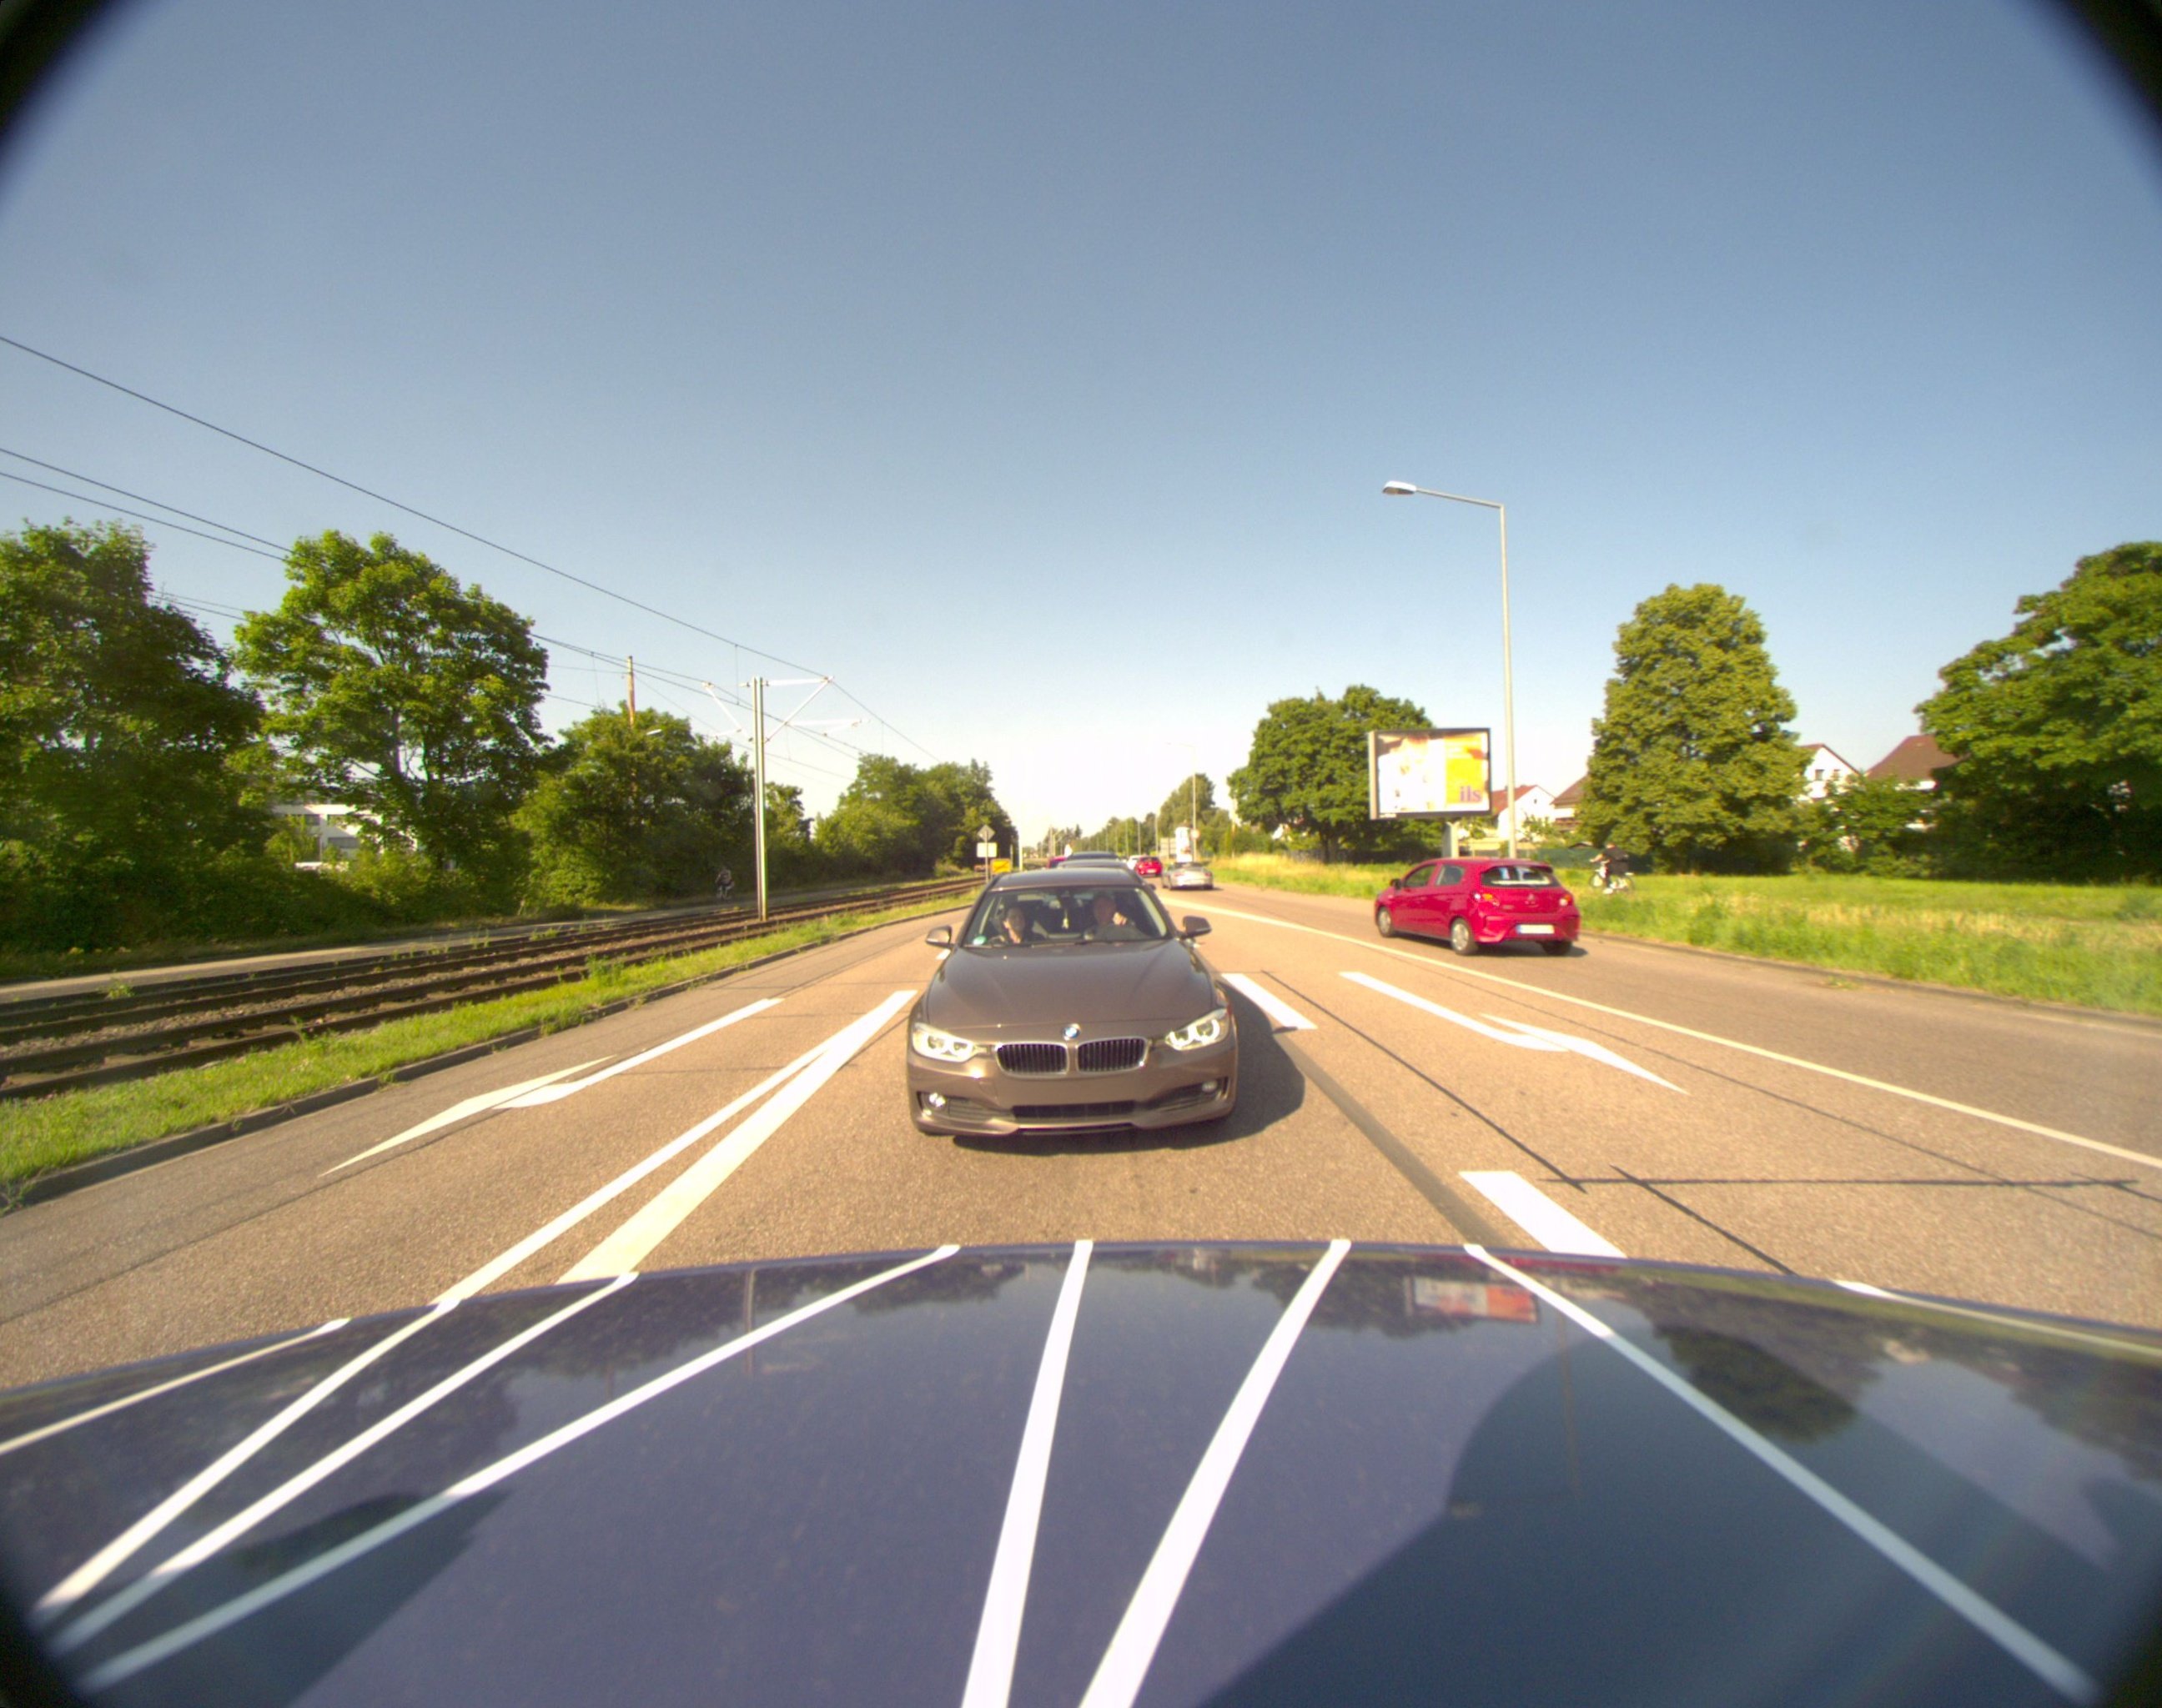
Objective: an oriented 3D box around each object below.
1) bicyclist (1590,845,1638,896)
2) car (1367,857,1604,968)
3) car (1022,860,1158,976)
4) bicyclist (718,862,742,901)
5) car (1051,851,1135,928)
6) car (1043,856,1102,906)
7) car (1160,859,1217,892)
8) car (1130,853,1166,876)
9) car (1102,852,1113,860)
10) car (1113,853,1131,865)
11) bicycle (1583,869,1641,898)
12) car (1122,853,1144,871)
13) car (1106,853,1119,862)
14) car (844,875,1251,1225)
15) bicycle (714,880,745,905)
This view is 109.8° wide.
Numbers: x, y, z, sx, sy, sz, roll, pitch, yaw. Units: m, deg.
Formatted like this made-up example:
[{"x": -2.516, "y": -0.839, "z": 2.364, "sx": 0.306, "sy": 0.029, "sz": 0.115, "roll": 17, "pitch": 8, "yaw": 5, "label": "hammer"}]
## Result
[{"x": 15.188, "y": 0.458, "z": 21.675, "sx": 0.638, "sy": 1.420, "sz": 1.072, "roll": -1, "pitch": 1, "yaw": 5, "label": "bicyclist"}, {"x": 6.300, "y": 0.816, "z": 12.358, "sx": 1.699, "sy": 1.489, "sz": 3.674, "roll": 0, "pitch": 0, "yaw": -4, "label": "car"}, {"x": 0.141, "y": 0.895, "z": 12.649, "sx": 1.821, "sy": 1.481, "sz": 4.611, "roll": -1, "pitch": 0, "yaw": 0, "label": "car"}, {"x": -16.642, "y": 1.303, "z": 36.022, "sx": 0.708, "sy": 1.797, "sz": 0.718, "roll": -1, "pitch": 1, "yaw": 2, "label": "bicyclist"}, {"x": 0.289, "y": 0.795, "z": 19.353, "sx": 1.821, "sy": 1.641, "sz": 4.611, "roll": -2, "pitch": 0, "yaw": 0, "label": "car"}, {"x": -0.243, "y": 0.854, "z": 25.985, "sx": 1.807, "sy": 1.498, "sz": 4.197, "roll": -1, "pitch": 0, "yaw": 0, "label": "car"}, {"x": 4.674, "y": 0.915, "z": 33.741, "sx": 1.784, "sy": 1.302, "sz": 4.285, "roll": -1, "pitch": 0, "yaw": -2, "label": "car"}, {"x": 4.403, "y": 0.690, "z": 50.651, "sx": 1.784, "sy": 1.469, "sz": 3.912, "roll": -1, "pitch": 0, "yaw": -4, "label": "car"}, {"x": 5.388, "y": 0.371, "z": 155.352, "sx": 1.784, "sy": 1.469, "sz": 4.285, "roll": -1, "pitch": 0, "yaw": -3, "label": "car"}, {"x": 5.294, "y": 0.641, "z": 98.217, "sx": 1.784, "sy": 1.469, "sz": 4.285, "roll": -1, "pitch": 0, "yaw": -4, "label": "car"}, {"x": 15.153, "y": 0.820, "z": 21.734, "sx": 0.455, "sy": 0.749, "sz": 1.834, "roll": -1, "pitch": 0, "yaw": 4, "label": "bicycle"}, {"x": 4.611, "y": 0.689, "z": 67.564, "sx": 1.784, "sy": 1.469, "sz": 4.273, "roll": -1, "pitch": 0, "yaw": 2, "label": "car"}, {"x": 5.211, "y": 0.611, "z": 127.875, "sx": 1.784, "sy": 1.469, "sz": 4.285, "roll": -1, "pitch": 0, "yaw": -3, "label": "car"}, {"x": -0.130, "y": 0.969, "z": 5.740, "sx": 1.821, "sy": 1.416, "sz": 4.461, "roll": -2, "pitch": 0, "yaw": 1, "label": "car"}, {"x": -16.628, "y": 1.805, "z": 36.011, "sx": 0.547, "sy": 1.041, "sz": 1.874, "roll": -1, "pitch": 0, "yaw": 1, "label": "bicycle"}]
